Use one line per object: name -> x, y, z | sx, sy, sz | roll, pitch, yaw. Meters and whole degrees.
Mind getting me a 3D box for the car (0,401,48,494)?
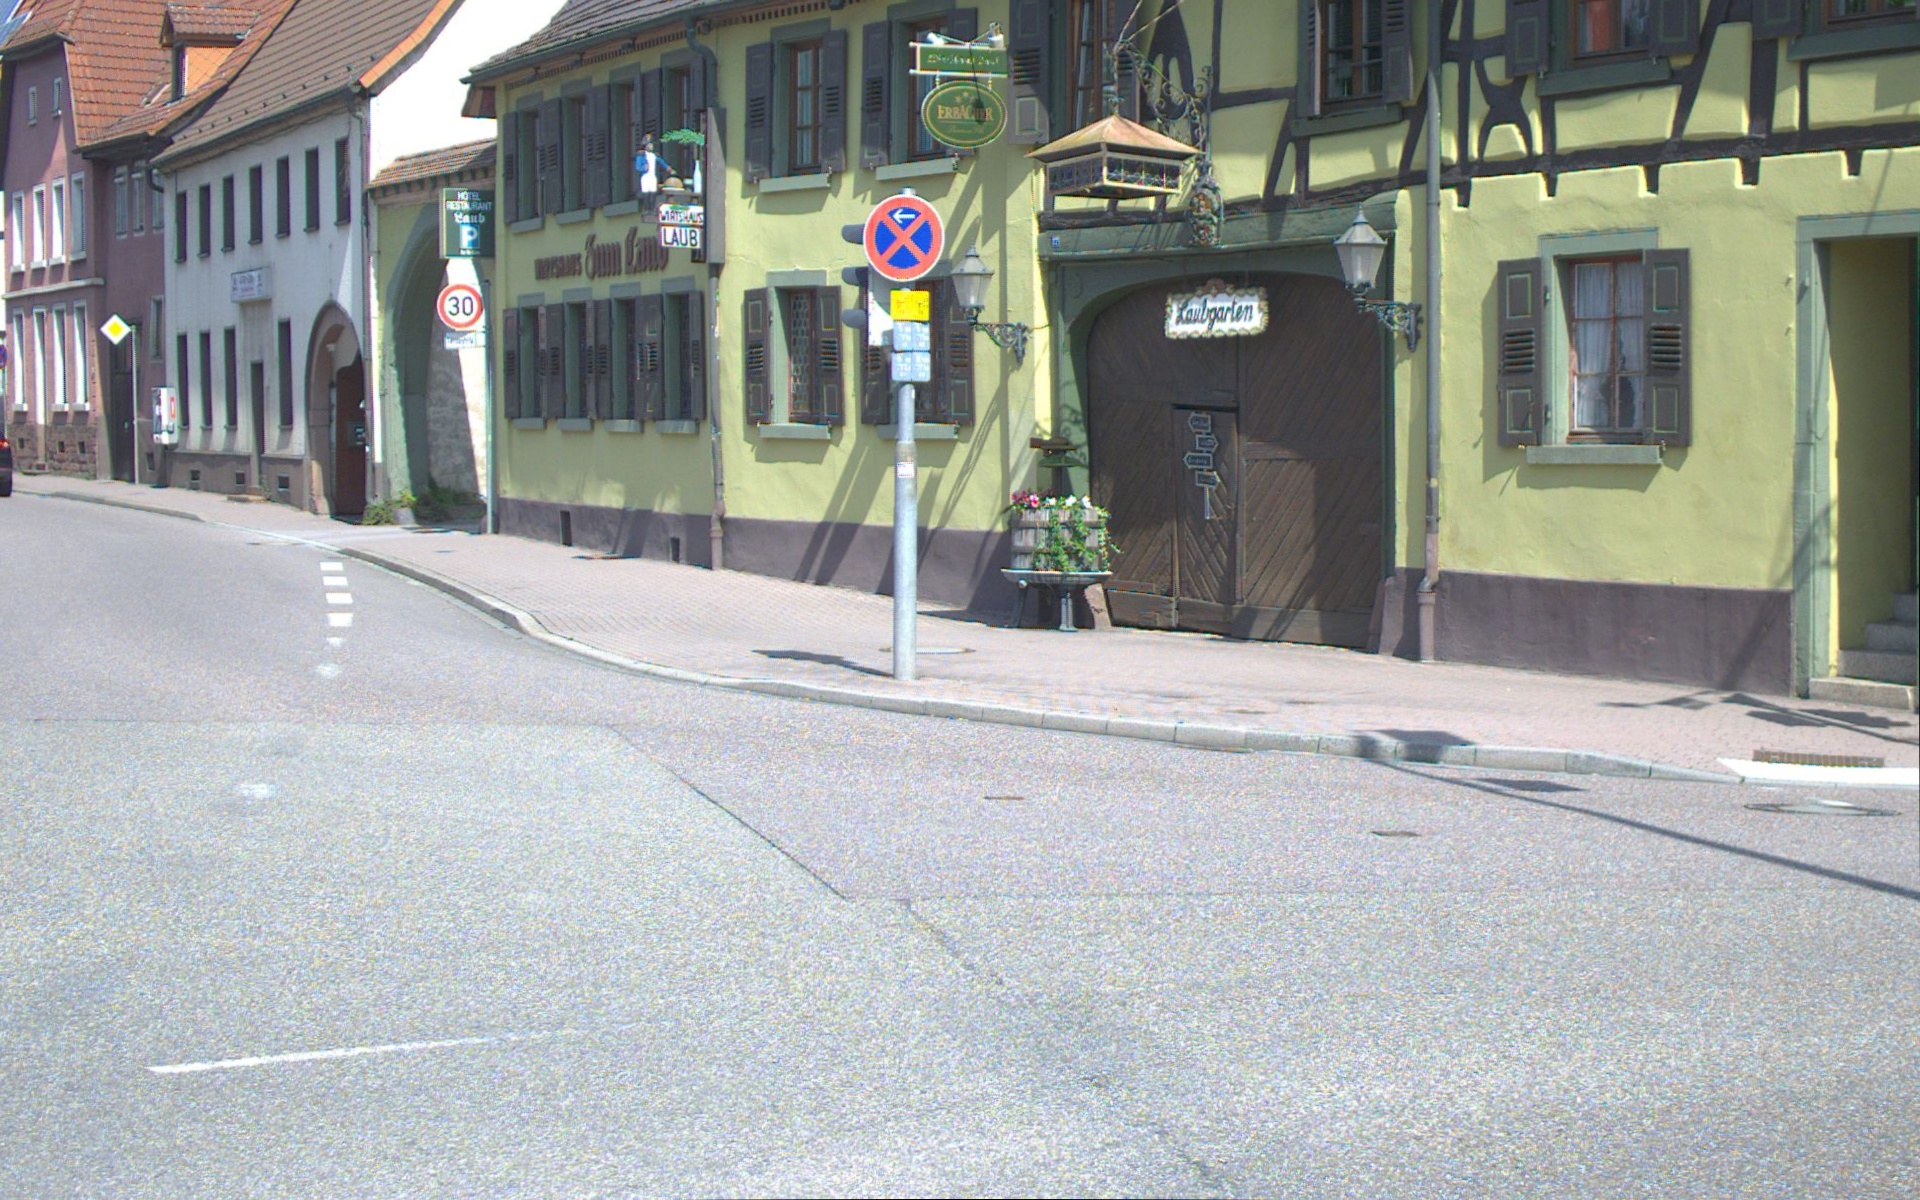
car -> -18.713, -2.945, 66.307 | 1.820, 1.732, 4.007 | -2, 3, -20
